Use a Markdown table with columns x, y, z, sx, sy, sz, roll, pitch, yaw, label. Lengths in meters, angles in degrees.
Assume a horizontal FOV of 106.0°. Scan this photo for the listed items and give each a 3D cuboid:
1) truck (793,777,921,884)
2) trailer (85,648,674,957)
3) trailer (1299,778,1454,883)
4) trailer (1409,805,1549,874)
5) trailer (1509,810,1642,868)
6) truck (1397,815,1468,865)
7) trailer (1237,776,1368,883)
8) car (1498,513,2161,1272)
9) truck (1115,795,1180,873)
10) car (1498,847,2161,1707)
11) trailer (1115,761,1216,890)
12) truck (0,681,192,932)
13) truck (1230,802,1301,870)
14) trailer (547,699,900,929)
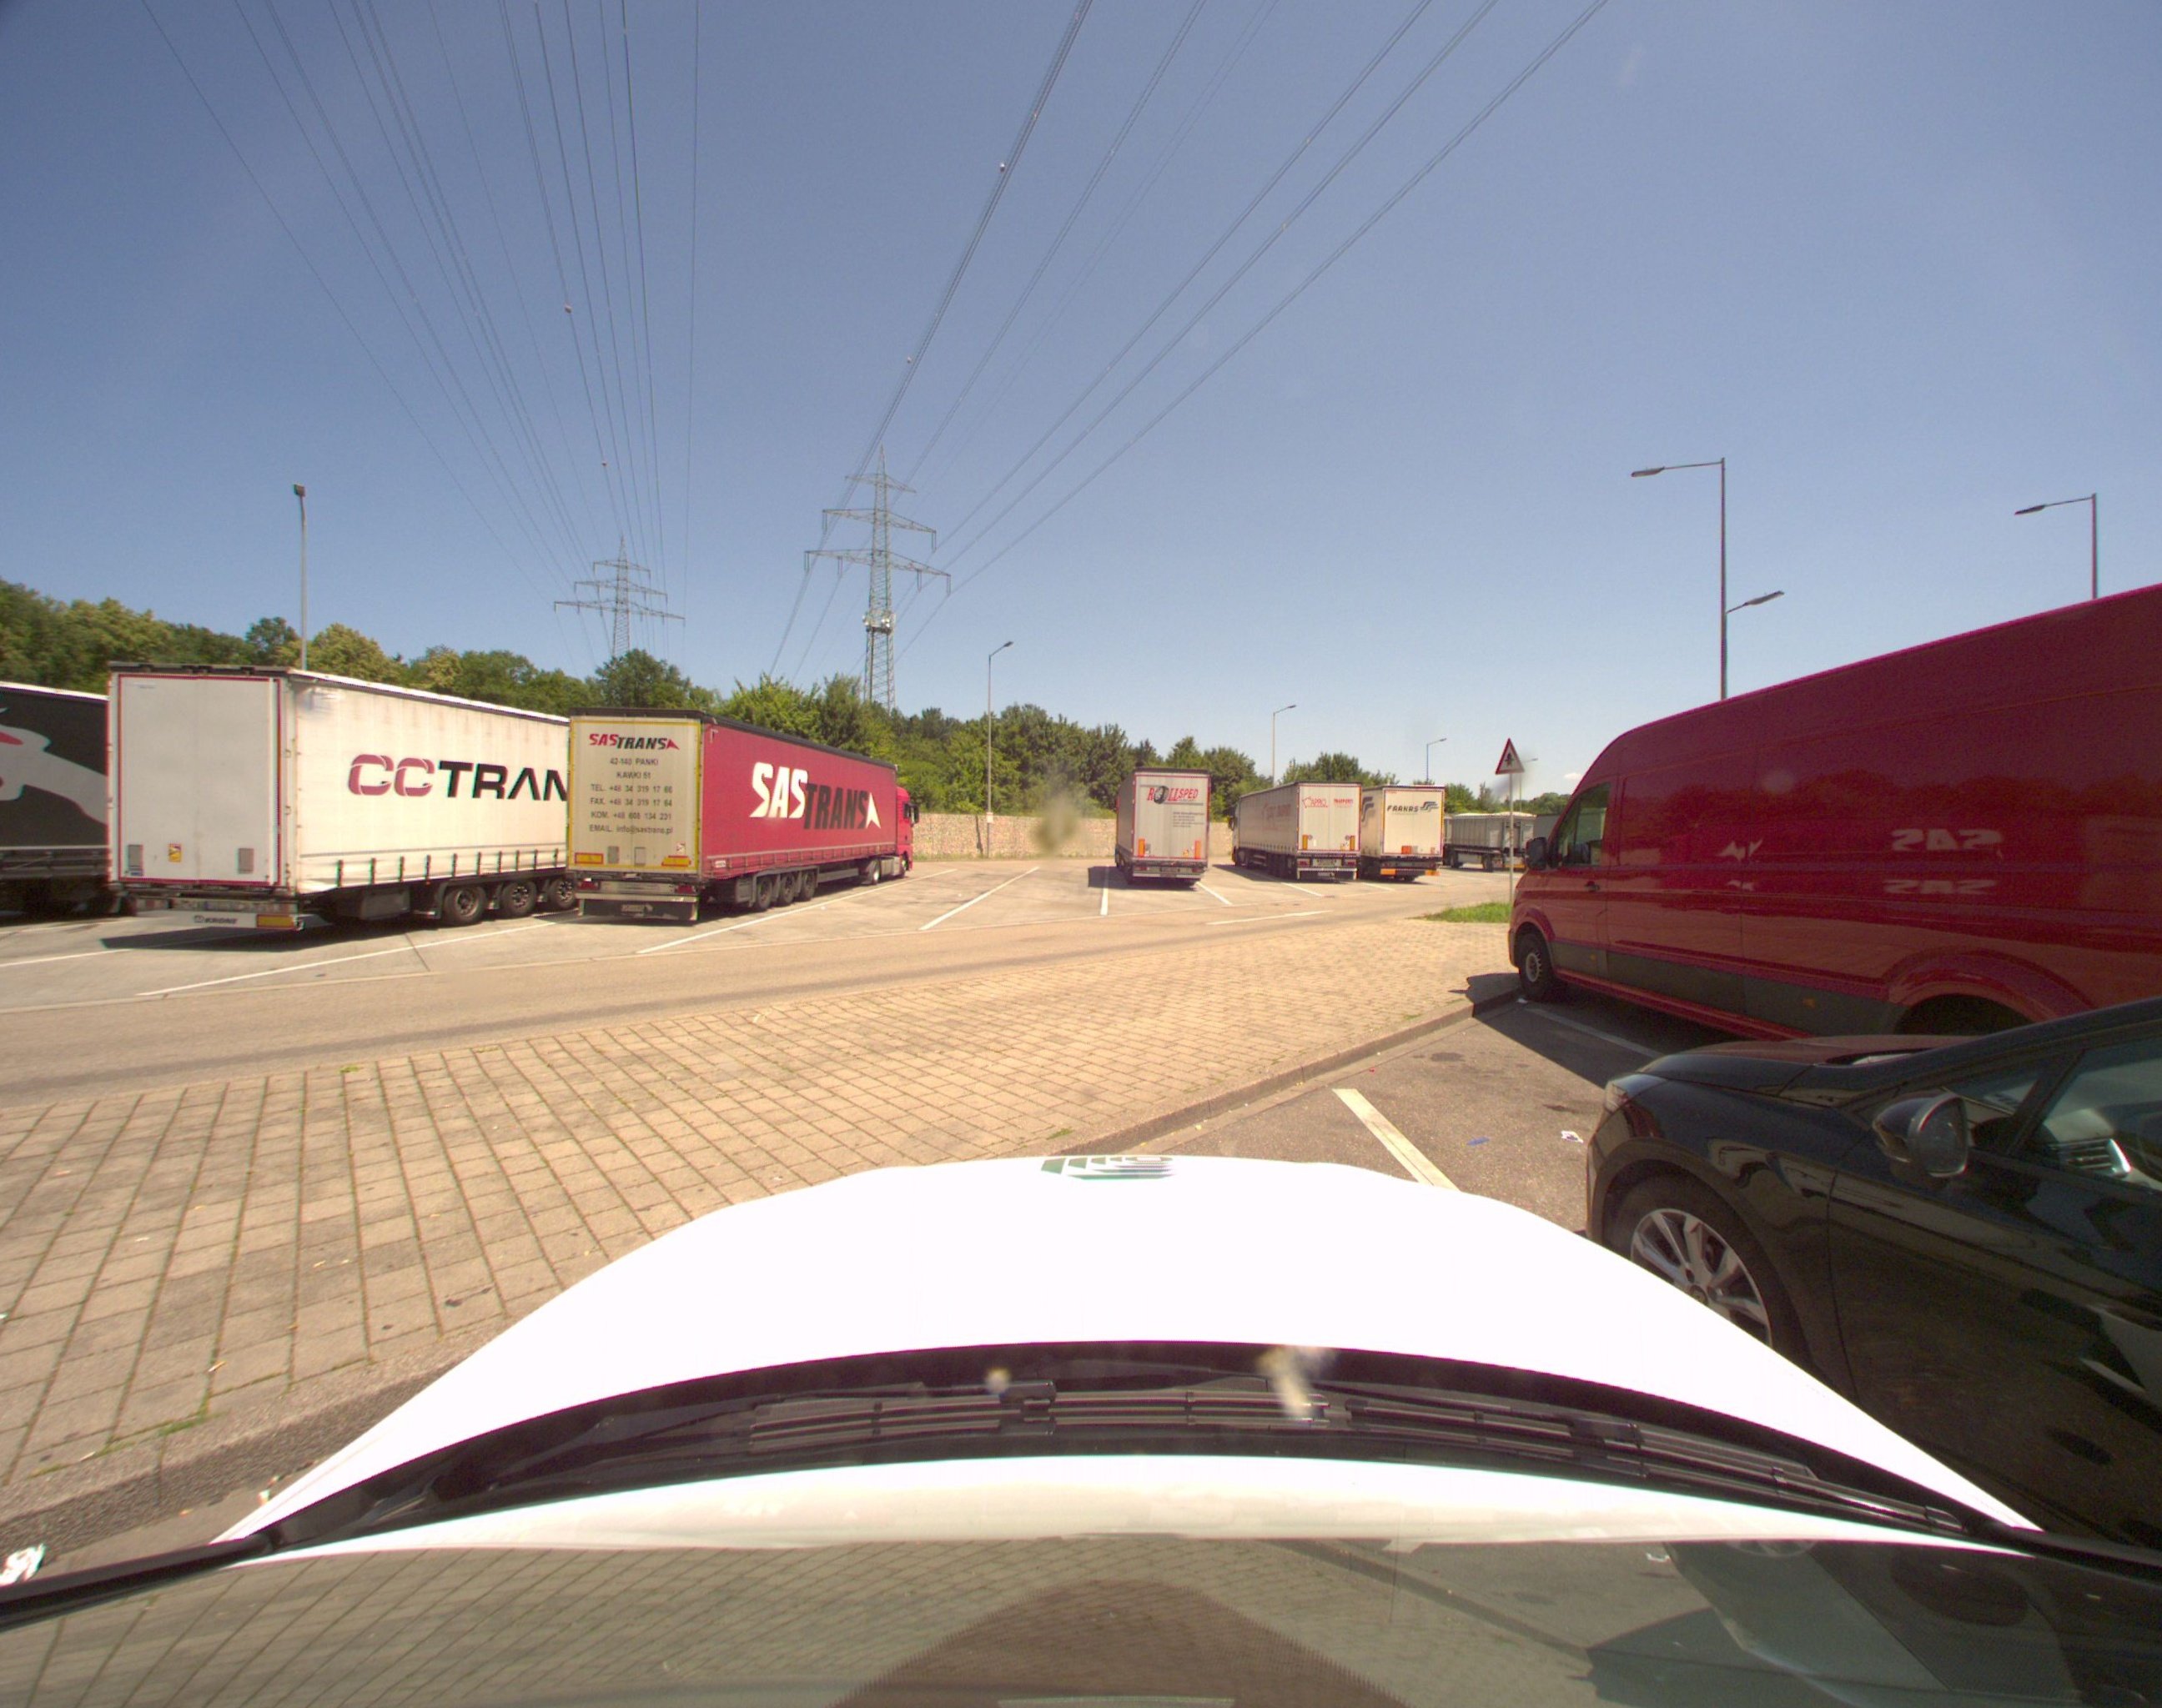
| x | y | z | sx | sy | sz | roll | pitch | yaw | label |
| --- | --- | --- | --- | --- | --- | --- | --- | --- | --- |
| -7.802 | -0.831 | 29.091 | 2.841 | 3.427 | 5.486 | 1 | 1 | 2 | truck |
| -12.203 | -0.886 | 16.325 | 2.718 | 4.209 | 10.175 | 1 | 2 | 2 | trailer |
| 13.609 | -1.116 | 39.288 | 2.828 | 4.132 | 13.730 | 1 | 2 | 2 | trailer |
| 24.526 | -0.996 | 51.457 | 2.826 | 3.717 | 13.737 | 1 | 2 | 3 | trailer |
| 38.367 | -1.231 | 64.143 | 2.826 | 4.049 | 13.737 | 1 | 2 | 3 | trailer |
| 24.914 | -1.004 | 57.955 | 2.840 | 3.364 | 5.488 | 1 | 1 | 3 | truck |
| 9.952 | -1.149 | 38.624 | 2.828 | 4.132 | 13.730 | 1 | 2 | 2 | trailer |
| 5.165 | 0.087 | 5.489 | 2.055 | 2.695 | 6.405 | -1 | 1 | 6 | car |
| 3.165 | -0.983 | 39.908 | 2.841 | 3.483 | 5.486 | 1 | 1 | 2 | truck |
| 2.523 | 0.753 | 1.179 | 1.733 | 1.482 | 3.813 | -1 | 1 | -3 | car |
| 3.023 | -1.098 | 33.296 | 2.896 | 4.132 | 13.727 | 1 | 2 | 1 | trailer |
| -18.578 | -0.798 | 13.559 | 2.692 | 4.016 | 4.326 | 1 | 2 | 2 | truck |
| 10.159 | -1.023 | 45.435 | 2.841 | 3.483 | 5.486 | 1 | 1 | 2 | truck |
| -8.039 | -0.950 | 21.654 | 2.896 | 4.131 | 13.731 | 1 | 2 | 2 | trailer |
